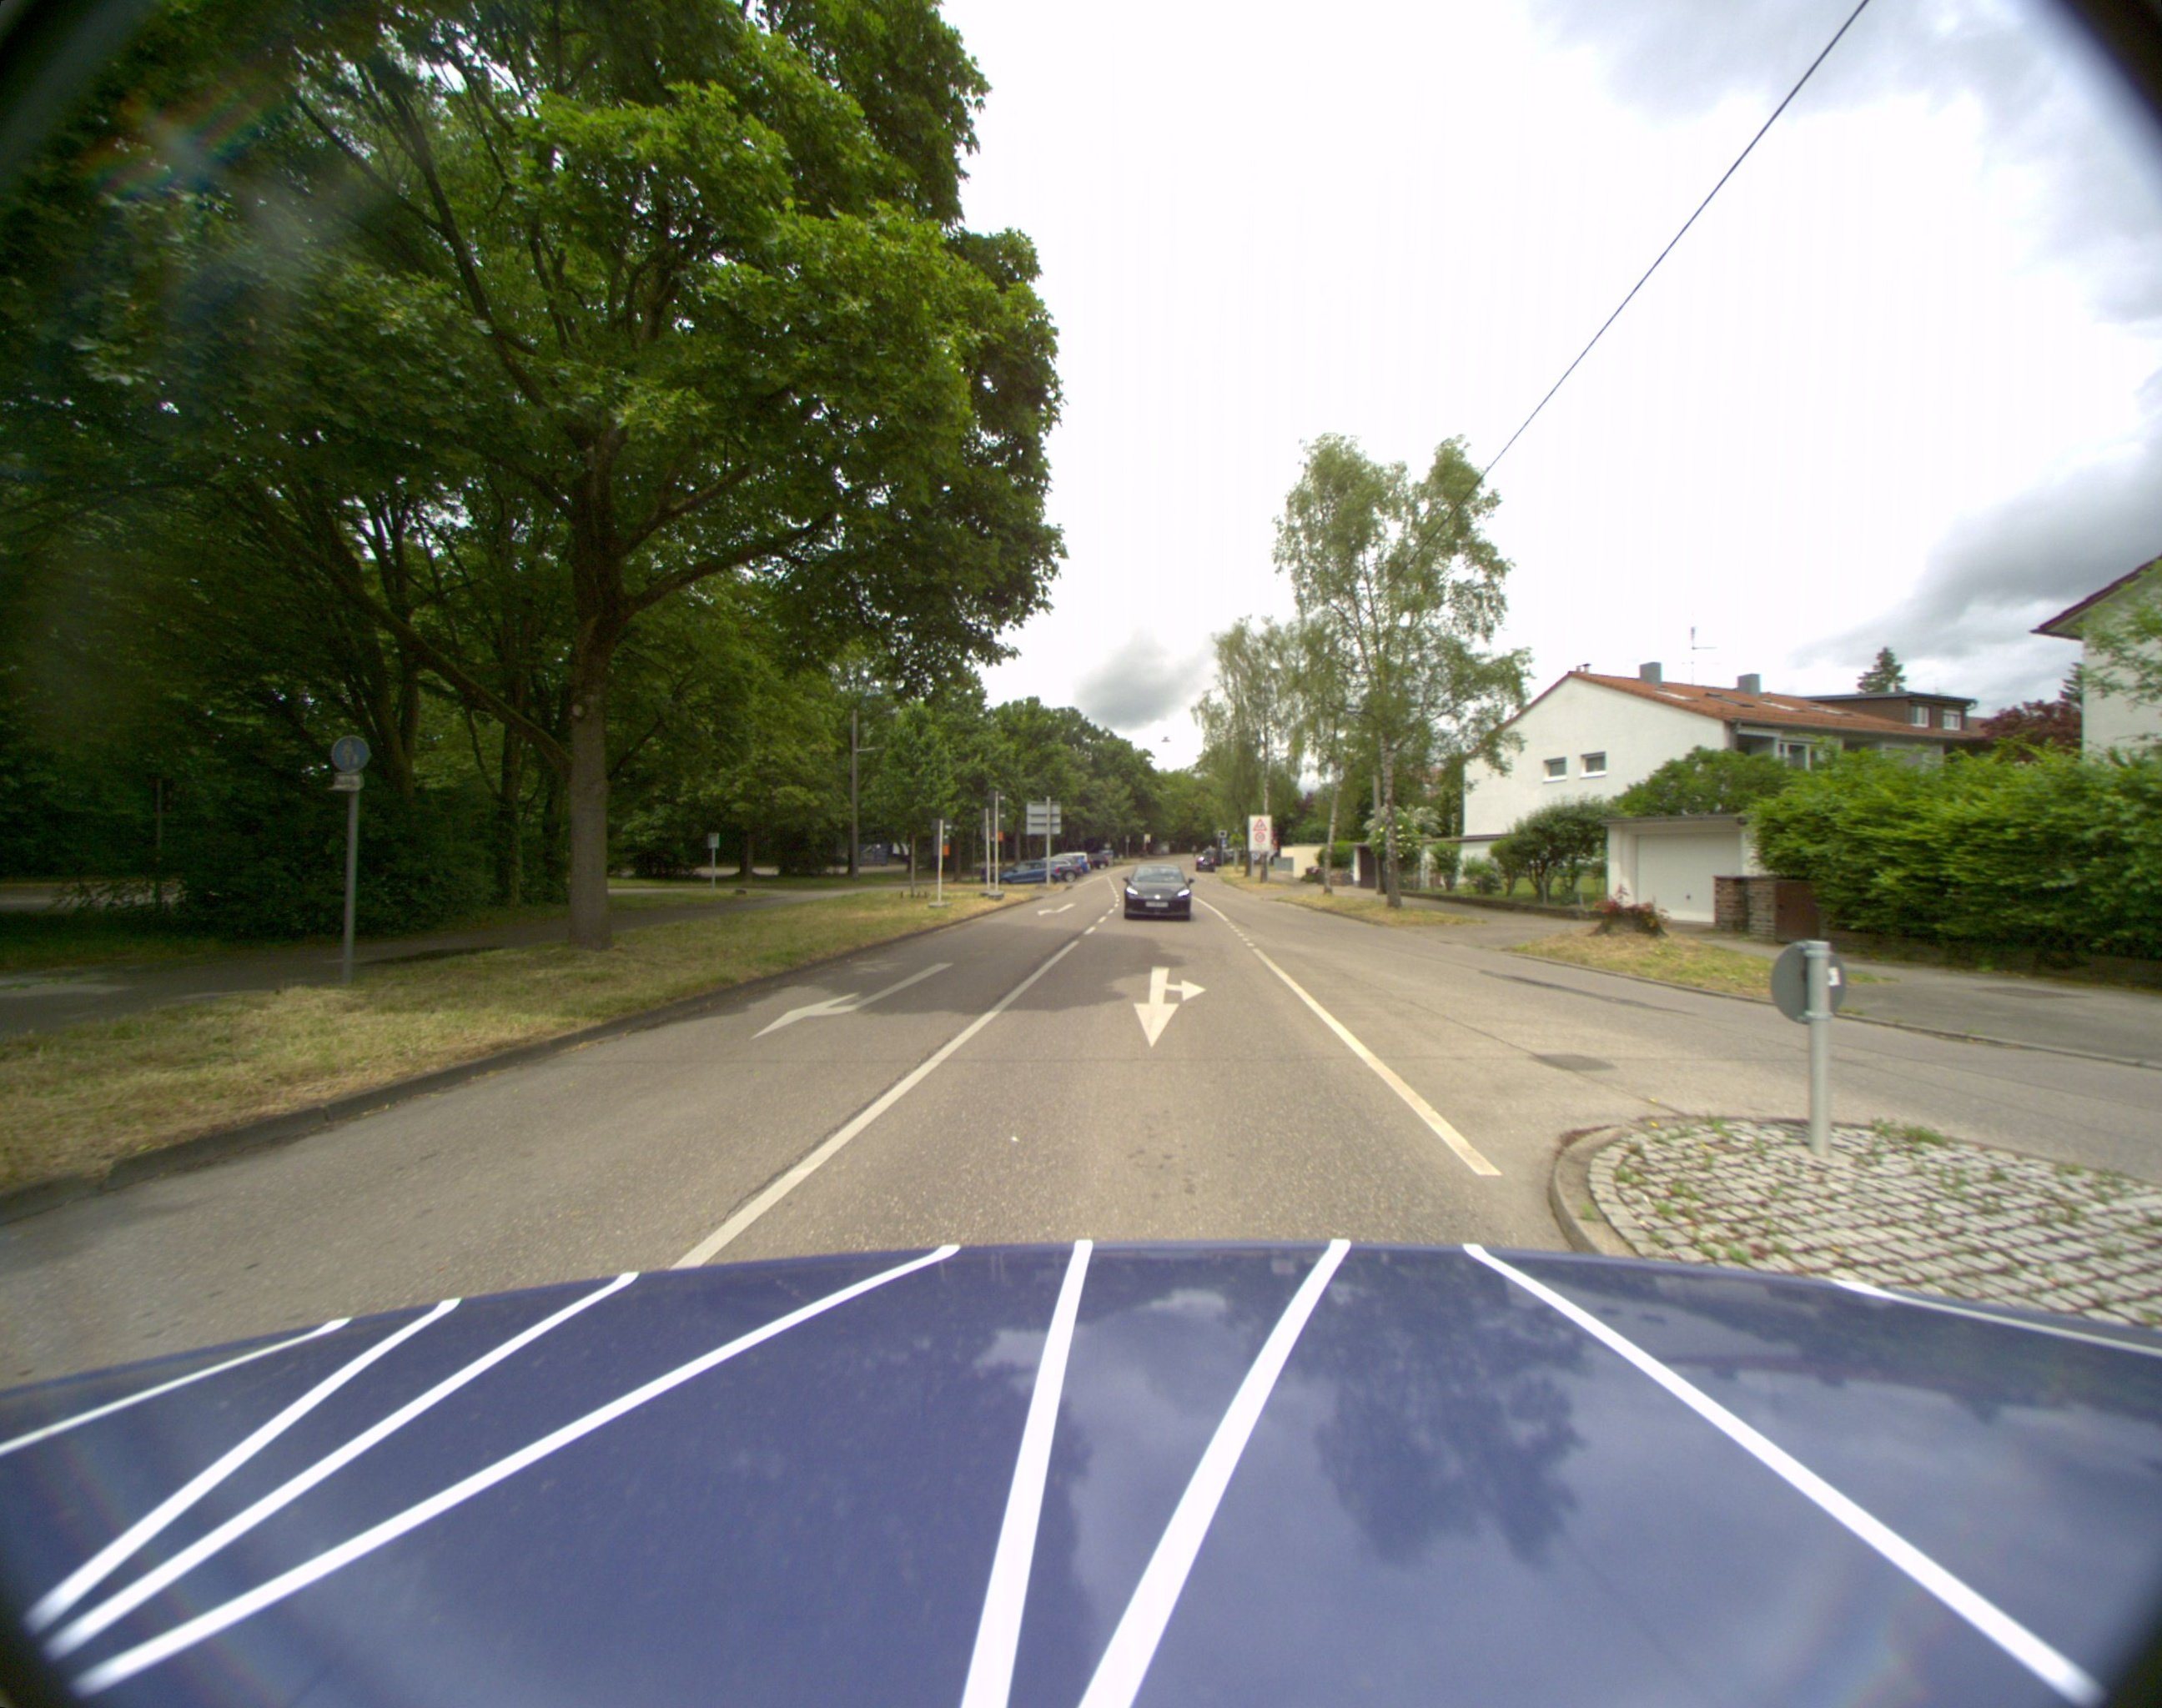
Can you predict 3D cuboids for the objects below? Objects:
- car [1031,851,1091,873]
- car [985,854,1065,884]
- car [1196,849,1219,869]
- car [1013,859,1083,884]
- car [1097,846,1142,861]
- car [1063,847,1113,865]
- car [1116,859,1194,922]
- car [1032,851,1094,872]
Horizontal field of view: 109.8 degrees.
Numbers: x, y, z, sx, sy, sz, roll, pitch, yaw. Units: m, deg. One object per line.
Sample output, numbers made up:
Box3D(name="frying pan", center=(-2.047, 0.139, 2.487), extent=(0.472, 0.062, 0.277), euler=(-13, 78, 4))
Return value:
Box3D(name="car", center=(-1.451, 0.578, 53.806), extent=(4.001, 1.477, 1.917), euler=(1, 1, -11))
Box3D(name="car", center=(-3.036, 0.804, 40.661), extent=(4.002, 1.477, 1.916), euler=(1, 1, -14))
Box3D(name="car", center=(11.922, 0.454, 71.653), extent=(1.973, 1.600, 4.420), euler=(2, 3, 9))
Box3D(name="car", center=(-2.025, 1.047, 45.937), extent=(4.001, 1.477, 1.917), euler=(1, 1, -11))
Box3D(name="car", center=(3.940, -0.044, 78.209), extent=(4.416, 1.599, 1.999), euler=(0, 0, -3))
Box3D(name="car", center=(0.624, 0.216, 69.938), extent=(4.419, 1.599, 1.998), euler=(0, 0, -8))
Box3D(name="car", center=(2.159, 0.953, 21.683), extent=(1.997, 1.608, 4.002), euler=(0, 0, 7))
Box3D(name="car", center=(-1.389, 0.562, 58.713), extent=(4.422, 1.599, 1.997), euler=(0, 0, -16))
